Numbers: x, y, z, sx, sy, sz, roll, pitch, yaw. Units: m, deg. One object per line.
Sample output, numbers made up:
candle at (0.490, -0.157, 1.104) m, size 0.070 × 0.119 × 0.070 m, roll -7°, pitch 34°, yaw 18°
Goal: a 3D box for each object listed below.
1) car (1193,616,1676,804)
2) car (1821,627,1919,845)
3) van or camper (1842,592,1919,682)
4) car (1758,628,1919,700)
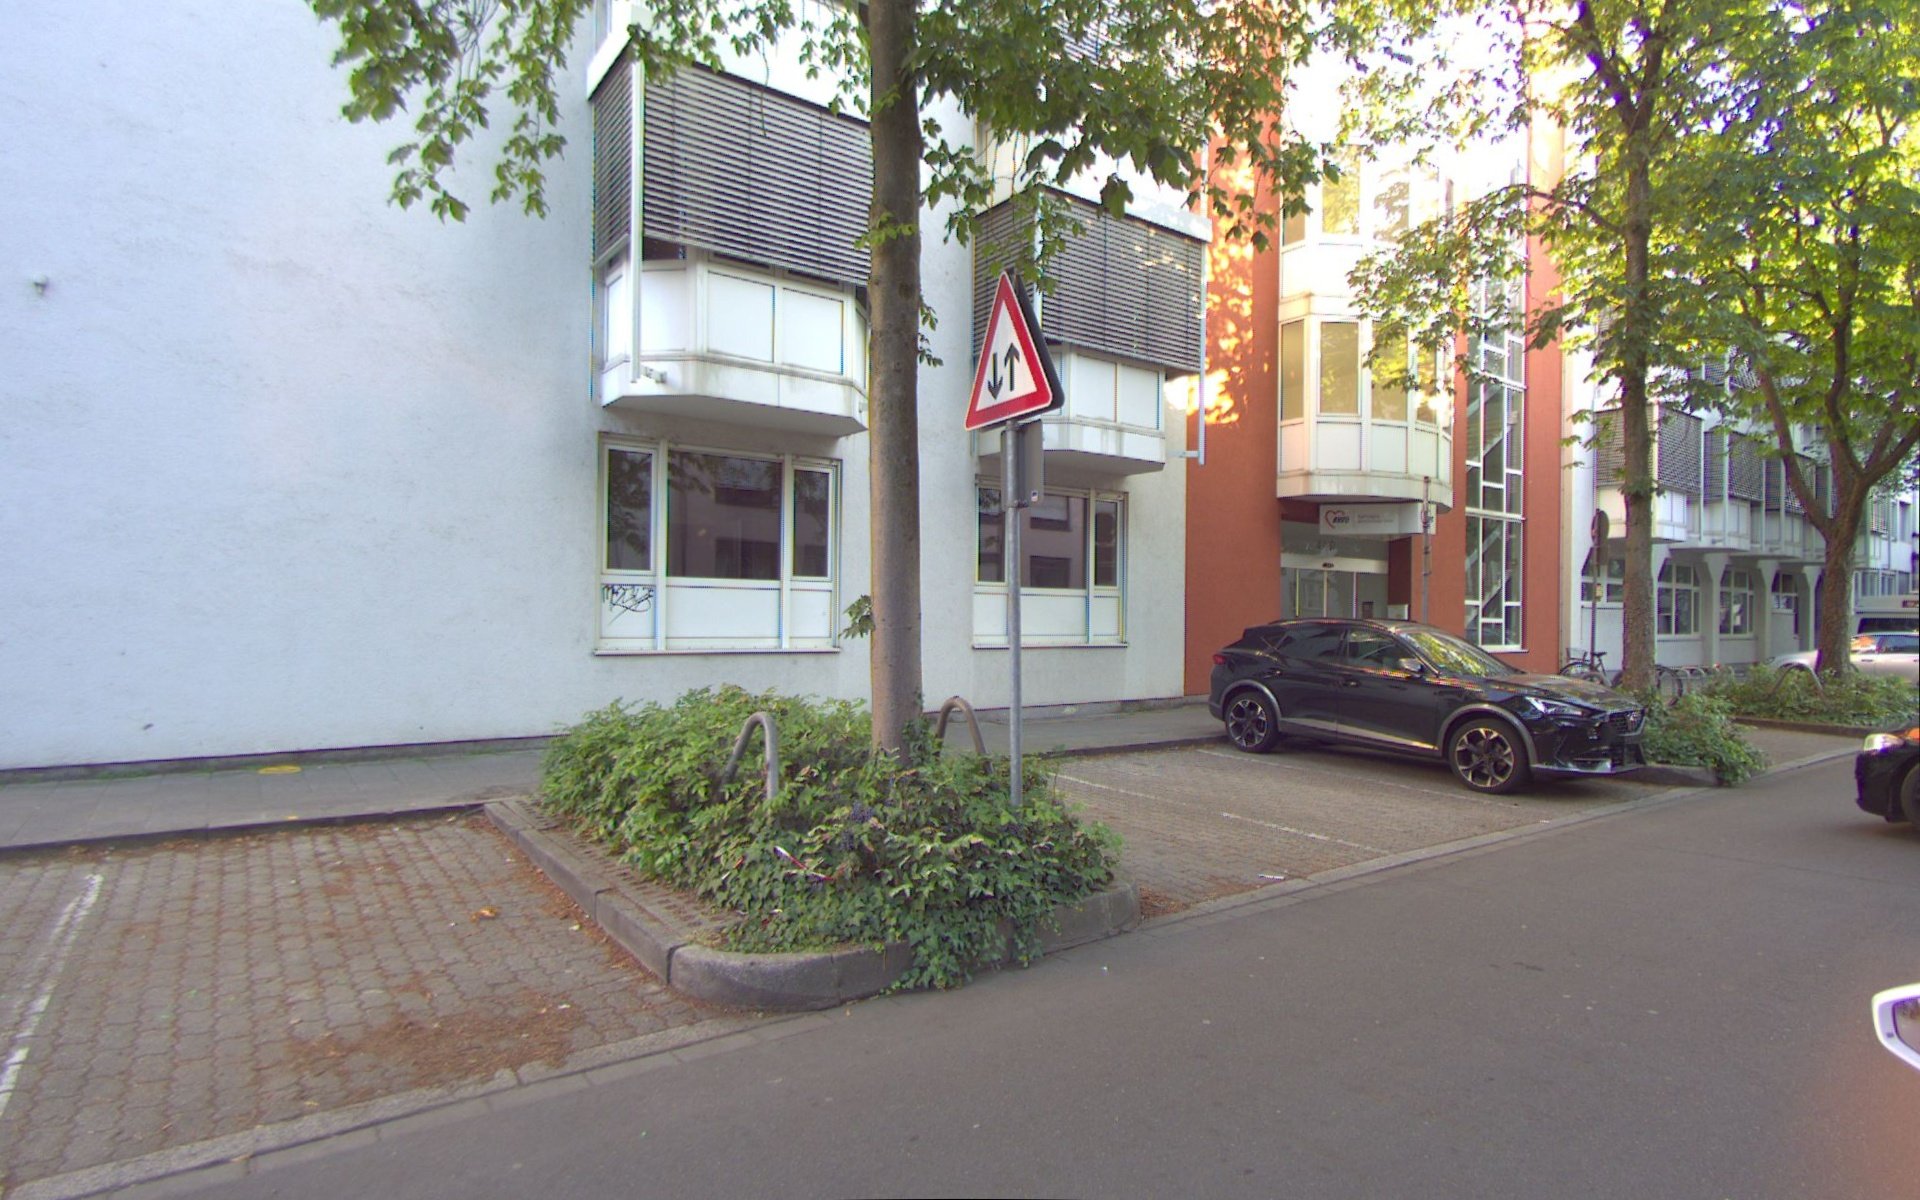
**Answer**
car at (4.715, 0.958, 10.607) m, size 1.768 × 1.537 × 4.325 m, roll 1°, pitch -1°, yaw -35°
car at (8.128, 0.942, 5.648) m, size 1.774 × 1.499 × 4.736 m, roll 1°, pitch -1°, yaw -22°
van or camper at (27.902, 1.040, 28.031) m, size 1.981 × 2.511 × 4.632 m, roll 1°, pitch -1°, yaw -36°
car at (21.161, 1.451, 23.231) m, size 1.767 × 1.537 × 3.942 m, roll 1°, pitch -1°, yaw -35°
